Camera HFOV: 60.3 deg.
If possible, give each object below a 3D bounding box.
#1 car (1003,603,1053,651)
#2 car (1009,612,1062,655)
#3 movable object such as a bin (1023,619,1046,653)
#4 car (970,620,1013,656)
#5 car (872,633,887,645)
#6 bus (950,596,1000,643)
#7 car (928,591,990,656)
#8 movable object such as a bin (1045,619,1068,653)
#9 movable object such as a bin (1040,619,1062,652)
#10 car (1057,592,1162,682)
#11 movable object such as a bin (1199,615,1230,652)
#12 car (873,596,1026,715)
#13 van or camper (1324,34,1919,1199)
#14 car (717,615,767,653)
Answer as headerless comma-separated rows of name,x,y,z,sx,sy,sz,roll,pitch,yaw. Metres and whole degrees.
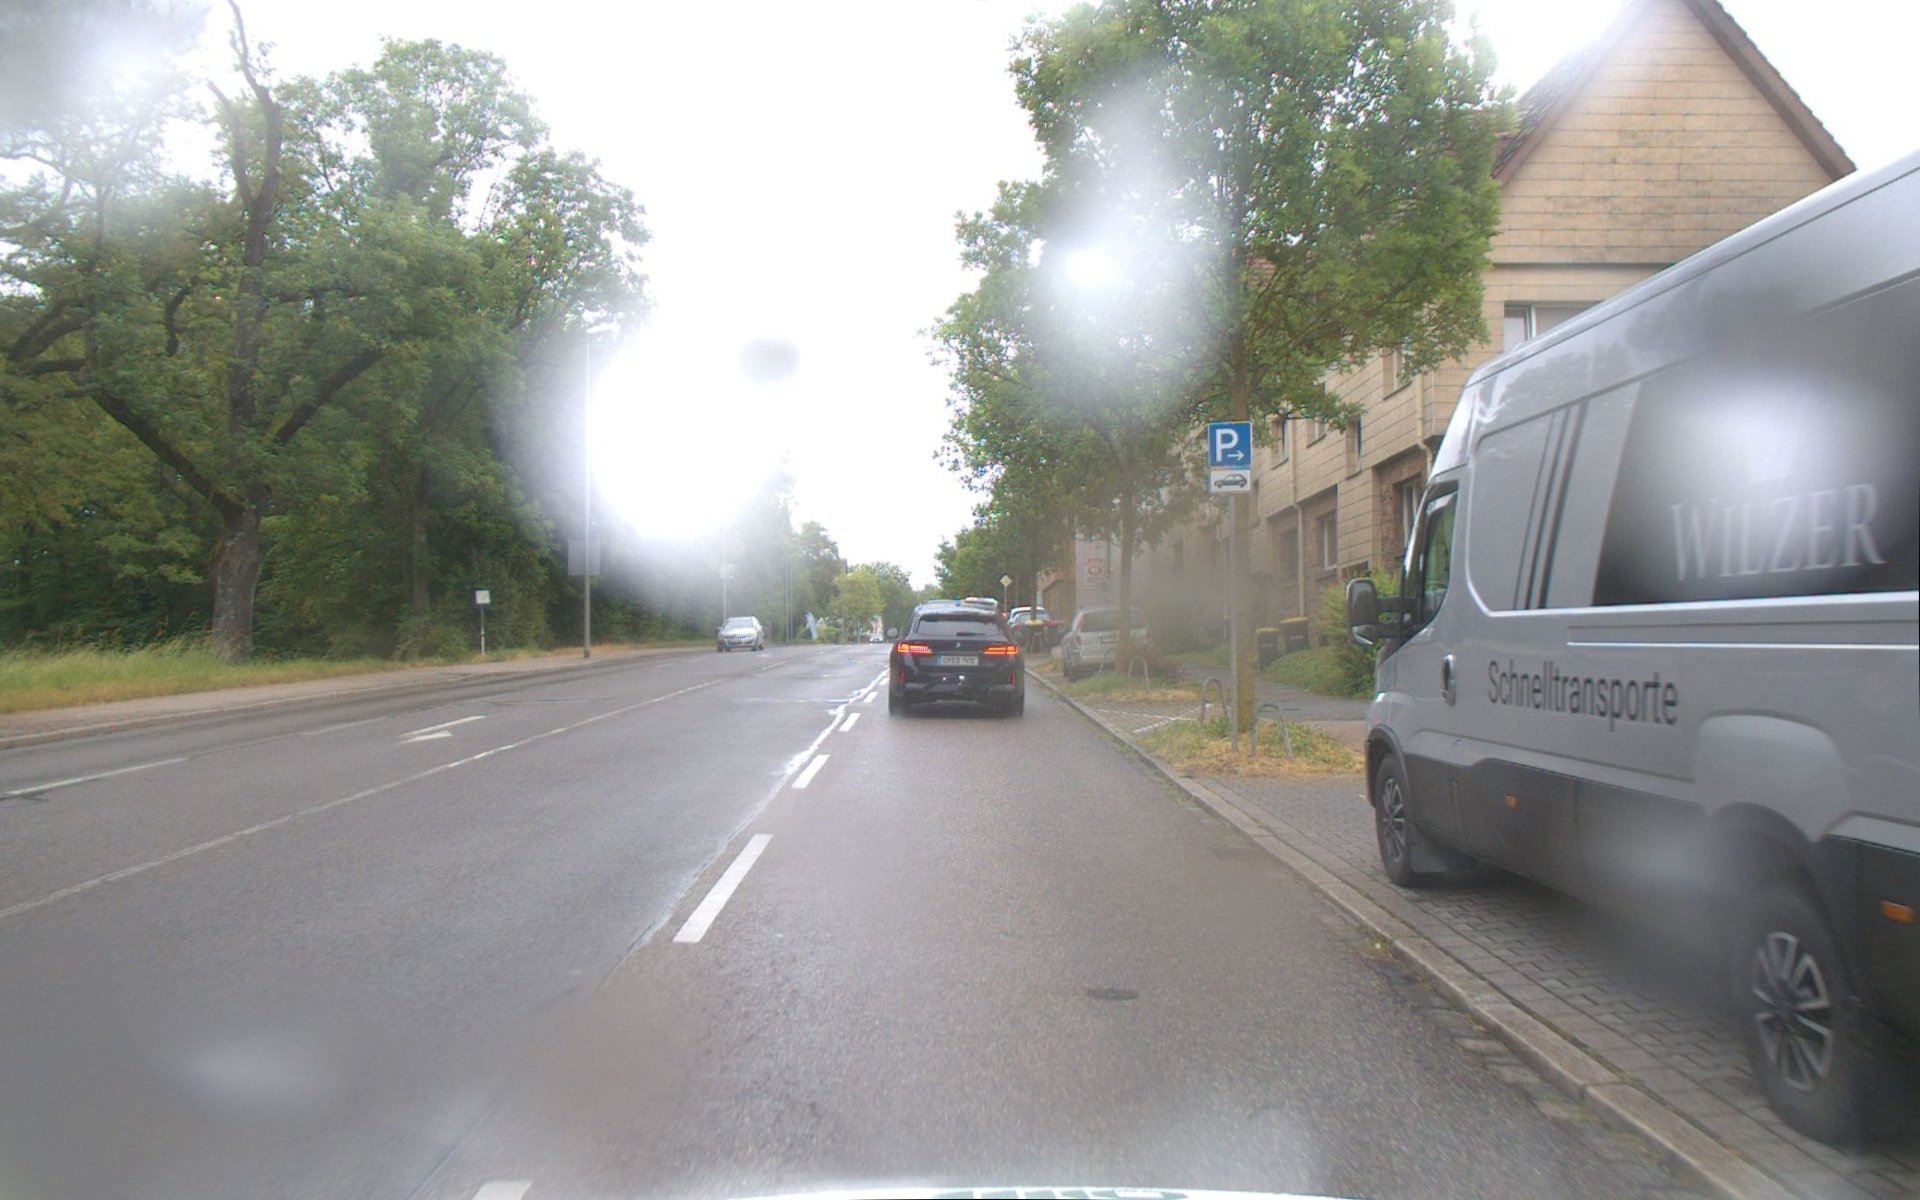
car,2.655,1.054,65.606,1.787,1.803,4.540,-1,-1,0
car,2.689,1.203,59.860,1.608,1.474,3.996,-1,-1,-2
movable object such as a bin,2.435,1.165,54.150,0.607,1.068,0.822,-3,0,-4
car,1.862,2.241,96.851,1.886,1.925,4.764,-4,-2,8
car,-10.567,5.143,217.902,1.734,1.560,3.999,-2,-1,-1
bus,1.043,1.283,108.321,2.568,2.897,8.293,-2,-1,5
car,-0.043,0.762,53.616,1.953,2.049,3.999,0,-1,0
movable object such as a bin,3.151,1.178,54.142,0.607,1.068,0.822,-3,0,-4
movable object such as a bin,3.026,1.175,55.063,0.607,1.068,0.822,-3,0,-4
car,3.023,0.704,34.254,1.667,1.611,4.643,-4,0,0
movable object such as a bin,6.997,0.905,45.434,0.686,0.982,0.941,1,0,-1
car,-0.166,0.754,23.699,1.953,1.478,3.999,2,-1,-1
van or camper,3.282,0.021,6.114,2.153,2.697,7.301,-2,0,0
car,-9.336,1.441,71.162,1.655,1.509,4.450,-2,-1,-2
